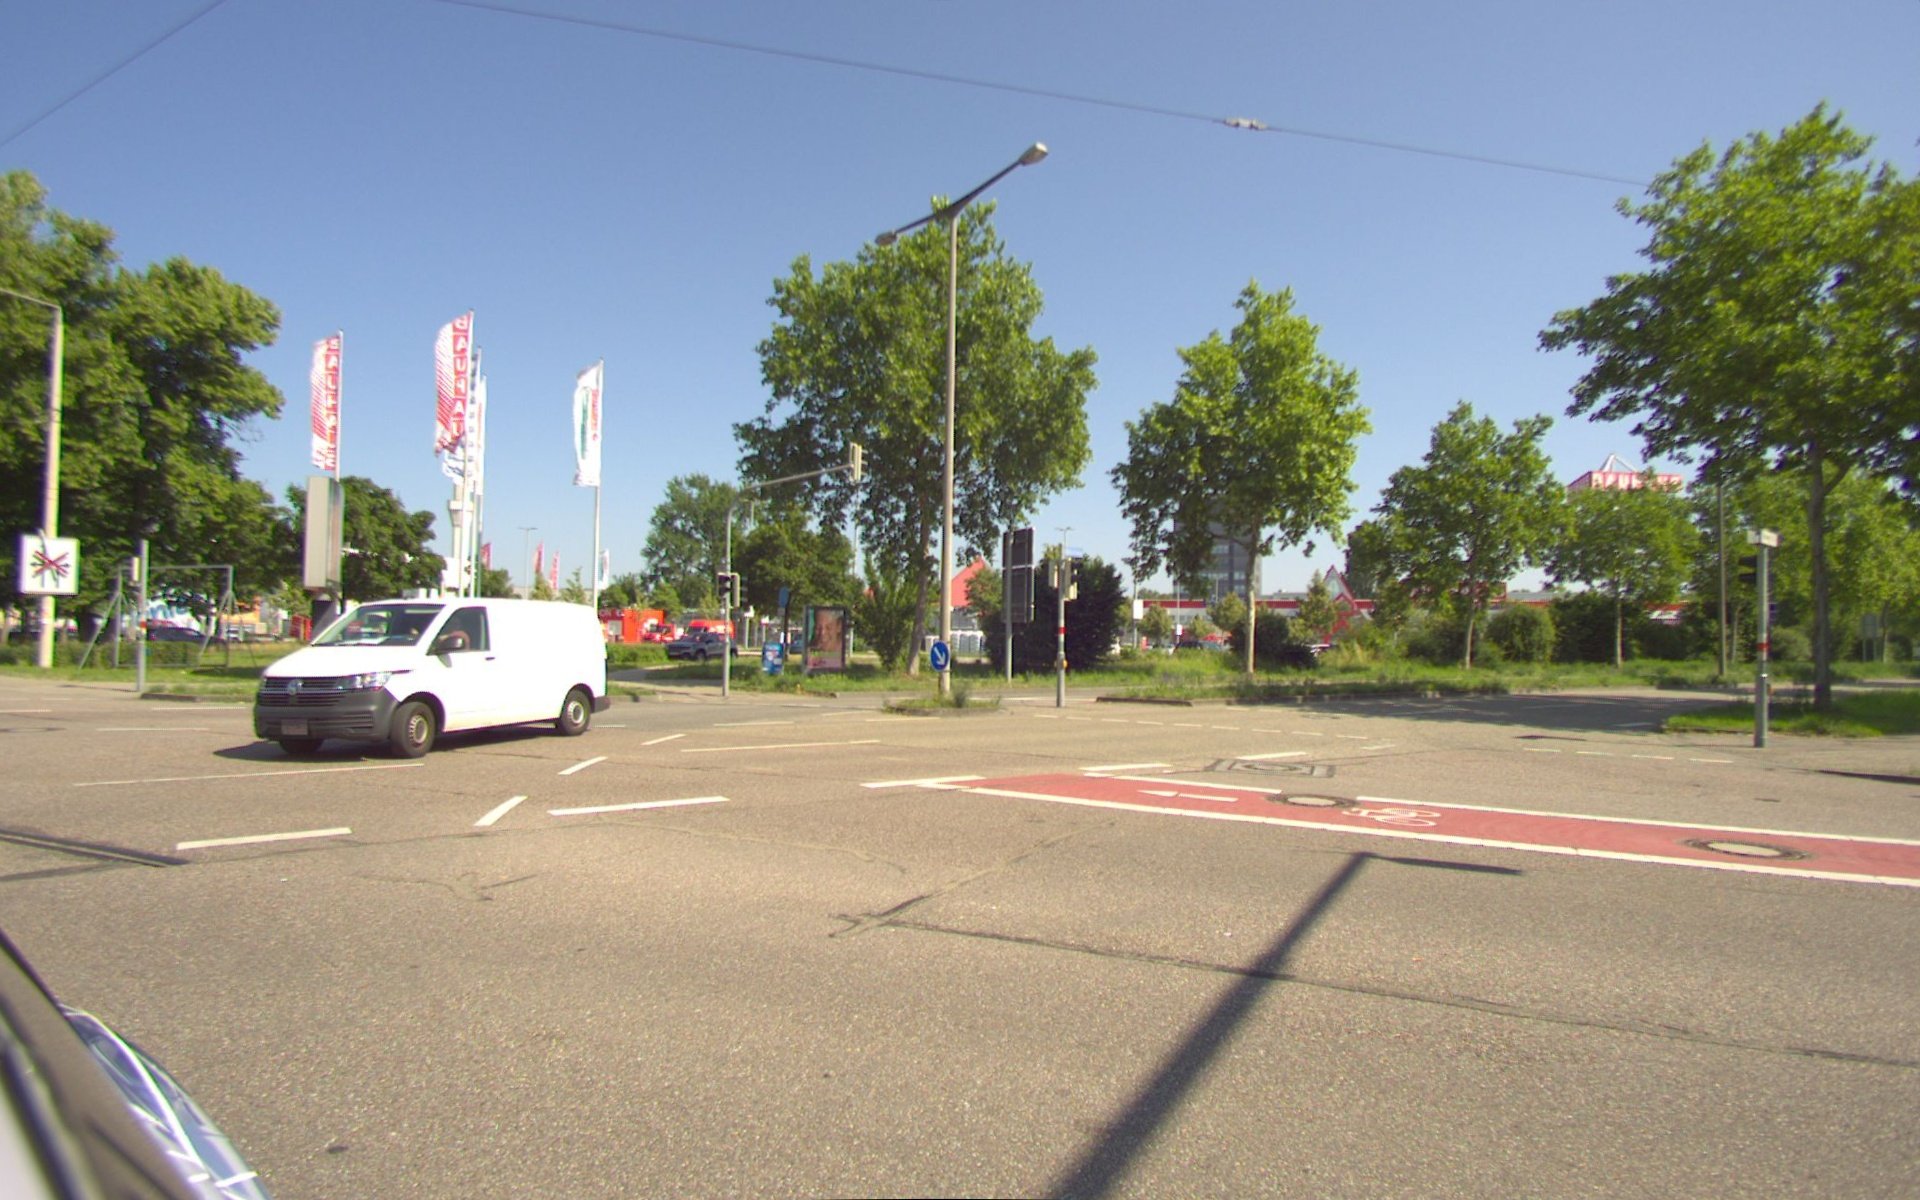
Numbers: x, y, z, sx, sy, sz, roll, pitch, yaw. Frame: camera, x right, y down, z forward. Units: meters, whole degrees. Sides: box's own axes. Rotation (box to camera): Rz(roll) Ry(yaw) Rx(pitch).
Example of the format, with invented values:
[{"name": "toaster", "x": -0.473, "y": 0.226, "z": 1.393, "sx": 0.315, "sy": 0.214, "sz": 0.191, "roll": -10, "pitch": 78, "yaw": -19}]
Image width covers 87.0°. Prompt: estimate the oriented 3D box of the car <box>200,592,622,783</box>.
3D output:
[{"name": "car", "x": -6.787, "y": 1.039, "z": 13.315, "sx": 1.872, "sy": 2.009, "sz": 4.945, "roll": 0, "pitch": -3, "yaw": 17}]
